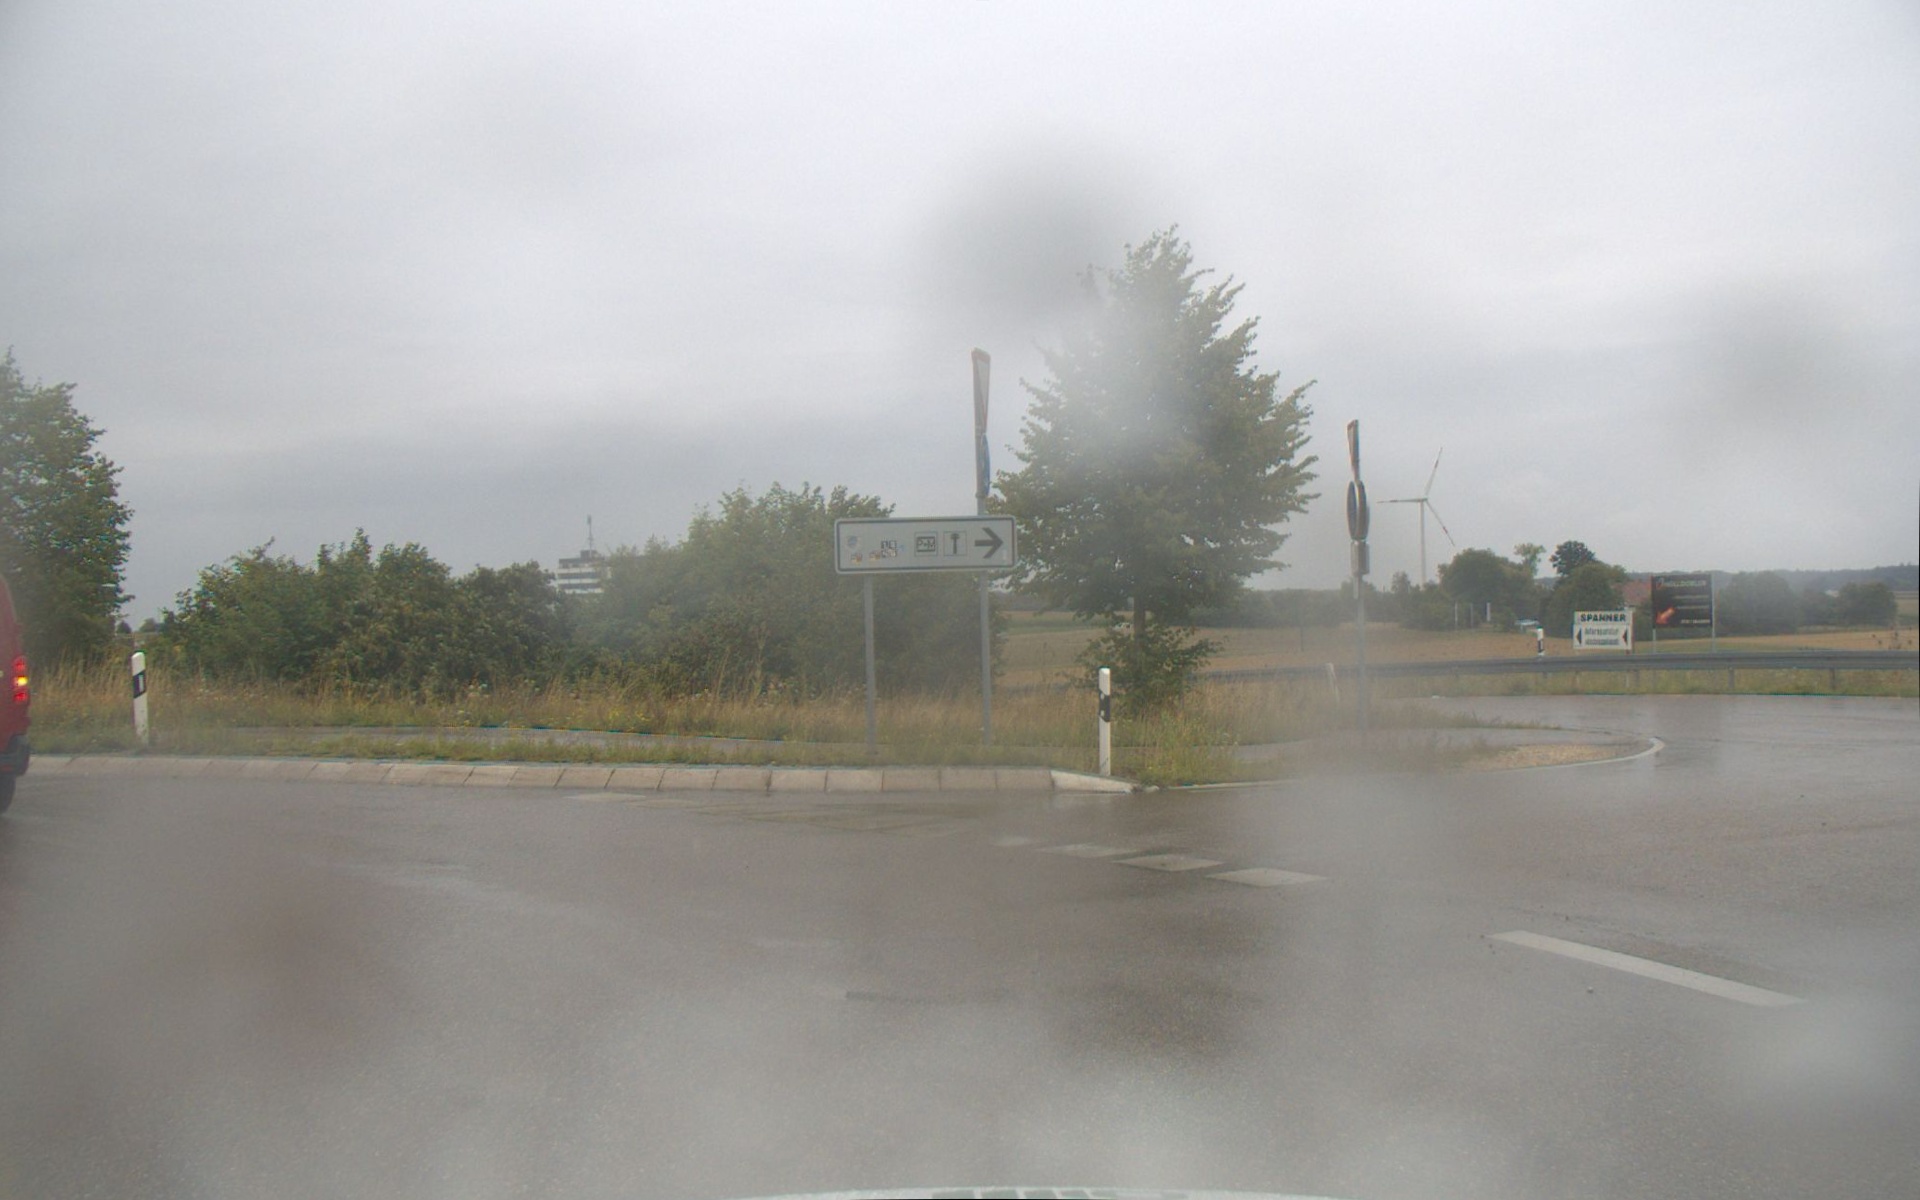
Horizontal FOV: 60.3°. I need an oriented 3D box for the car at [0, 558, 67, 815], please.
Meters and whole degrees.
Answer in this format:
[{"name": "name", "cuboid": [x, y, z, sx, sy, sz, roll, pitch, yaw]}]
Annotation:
[{"name": "car", "cuboid": [-9.397, 0.687, 13.303, 4.879, 1.903, 1.992, -1, 1, 37]}]
